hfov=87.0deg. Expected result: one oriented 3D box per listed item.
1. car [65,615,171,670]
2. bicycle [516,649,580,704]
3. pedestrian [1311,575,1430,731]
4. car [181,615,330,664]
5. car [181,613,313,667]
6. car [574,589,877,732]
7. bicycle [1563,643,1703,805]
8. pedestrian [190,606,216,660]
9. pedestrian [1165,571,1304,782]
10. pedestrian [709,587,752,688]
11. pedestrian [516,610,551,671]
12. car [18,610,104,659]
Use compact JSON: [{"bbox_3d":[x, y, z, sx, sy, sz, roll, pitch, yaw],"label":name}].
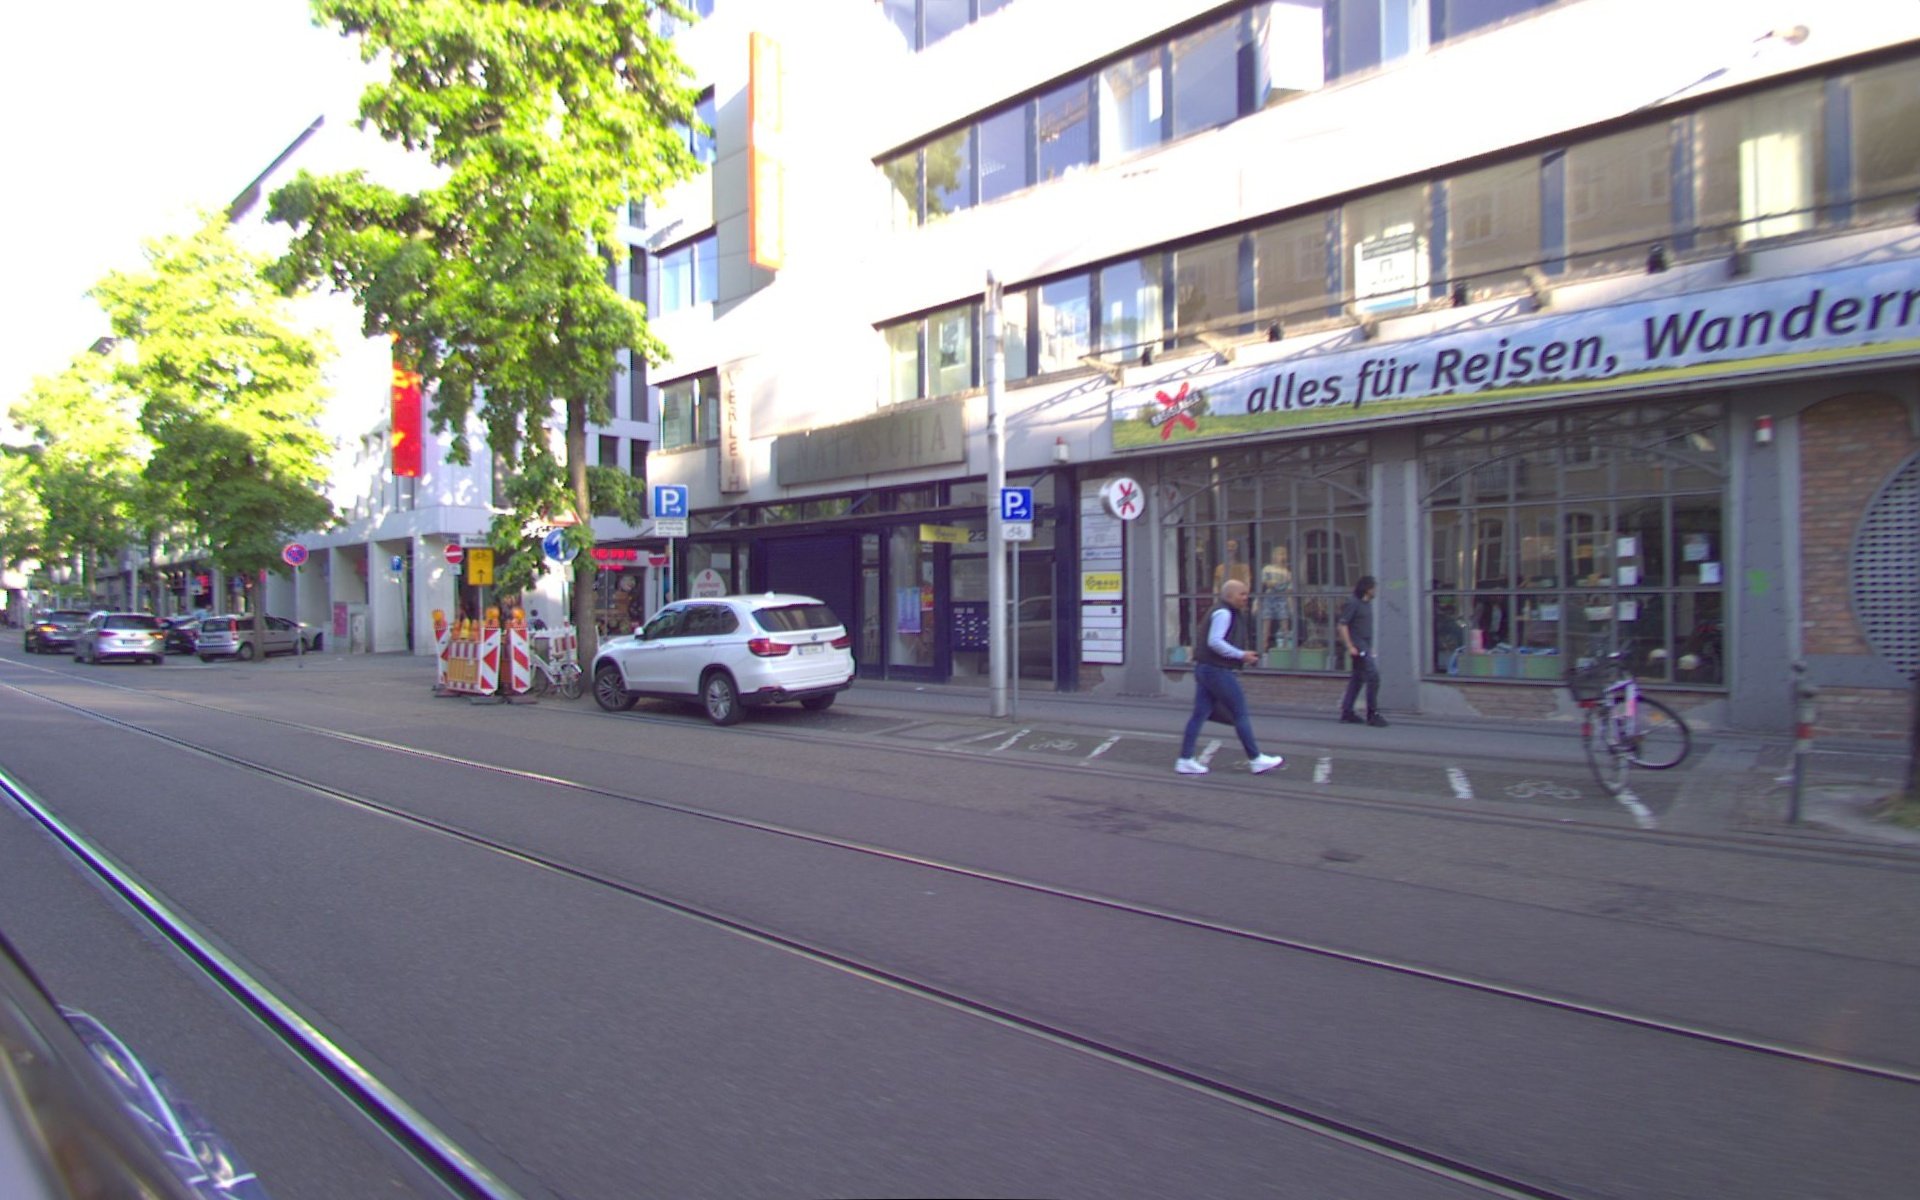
[{"bbox_3d":[-26.585,1.324,31.918,4.198,1.624,1.865,-1,-3,41],"label":"car"},{"bbox_3d":[-7.255,1.326,17.809,0.496,0.843,1.536,-3,2,-43],"label":"bicycle"},{"bbox_3d":[4.789,0.587,11.805,1.037,1.708,0.824,-1,2,41],"label":"pedestrian"},{"bbox_3d":[-25.666,1.404,37.044,1.568,1.423,4.286,-1,2,22],"label":"car"},{"bbox_3d":[-24.070,1.318,34.318,1.769,1.572,3.392,-1,2,8],"label":"car"},{"bbox_3d":[-3.644,0.806,15.217,4.741,1.767,1.973,-1,1,41],"label":"car"},{"bbox_3d":[5.337,0.920,7.987,1.724,0.999,0.479,-5,2,-42],"label":"bicycle"},{"bbox_3d":[-27.868,1.198,37.232,0.723,1.948,0.647,-2,-2,43],"label":"pedestrian"},{"bbox_3d":[2.457,0.646,9.112,0.818,1.779,0.856,0,-1,-31],"label":"pedestrian"},{"bbox_3d":[-4.726,0.766,20.837,0.592,2.029,0.608,-2,-1,39],"label":"pedestrian"},{"bbox_3d":[-11.843,1.108,28.088,0.604,1.658,0.724,-1,-1,8],"label":"pedestrian"},{"bbox_3d":[-35.811,1.364,40.287,4.198,1.820,2.013,-1,-2,41],"label":"car"}]
